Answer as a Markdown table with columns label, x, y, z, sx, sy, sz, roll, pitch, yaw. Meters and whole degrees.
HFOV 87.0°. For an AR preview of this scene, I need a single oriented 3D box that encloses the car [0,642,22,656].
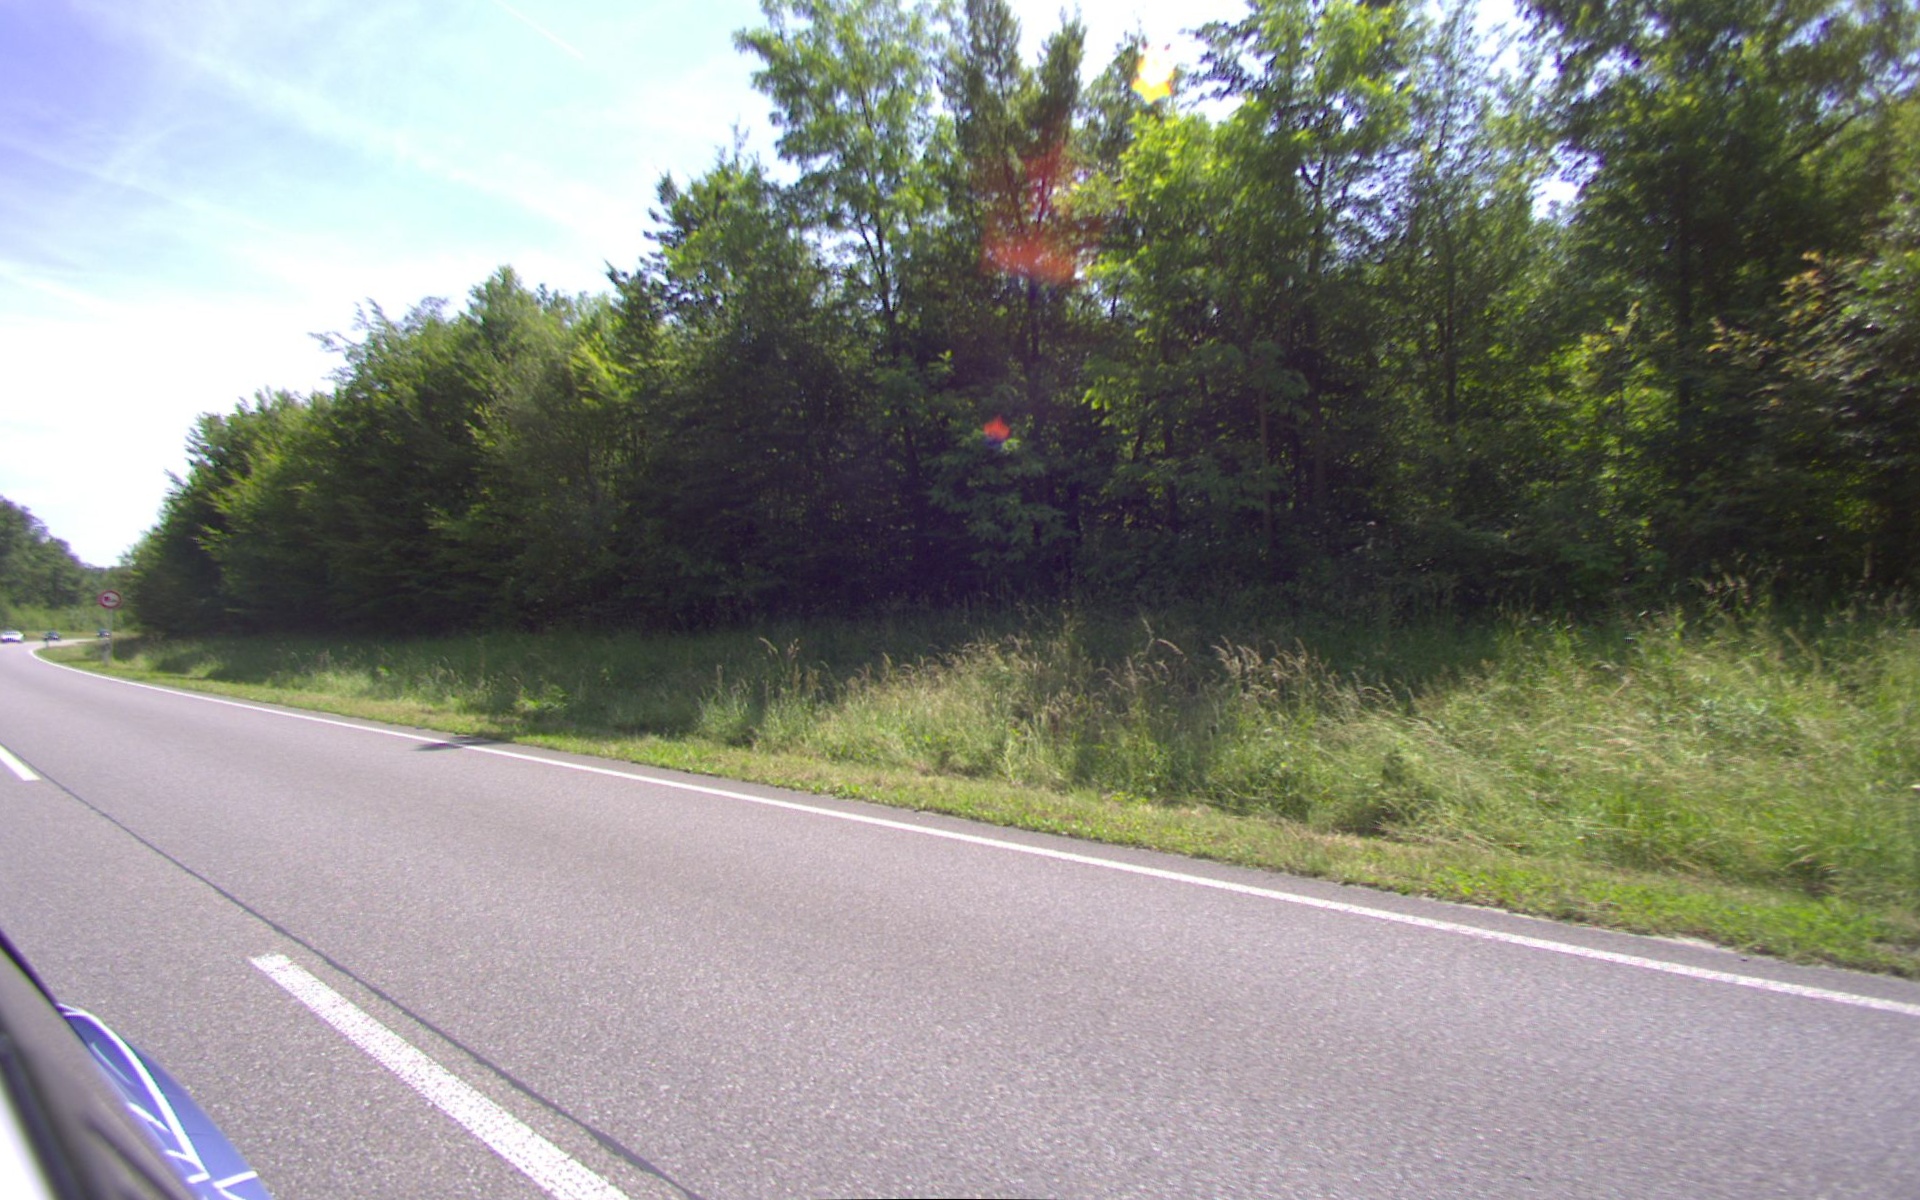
| label | x | y | z | sx | sy | sz | roll | pitch | yaw |
| --- | --- | --- | --- | --- | --- | --- | --- | --- | --- |
| car | -120.562 | 6.195 | 128.210 | 1.988 | 1.761 | 4.390 | 1 | -3 | -37 |

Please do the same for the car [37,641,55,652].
| label | x | y | z | sx | sy | sz | roll | pitch | yaw |
| --- | --- | --- | --- | --- | --- | --- | --- | --- | --- |
| car | -141.687 | 7.184 | 156.886 | 1.666 | 1.741 | 4.009 | 1 | -2 | -37 |
